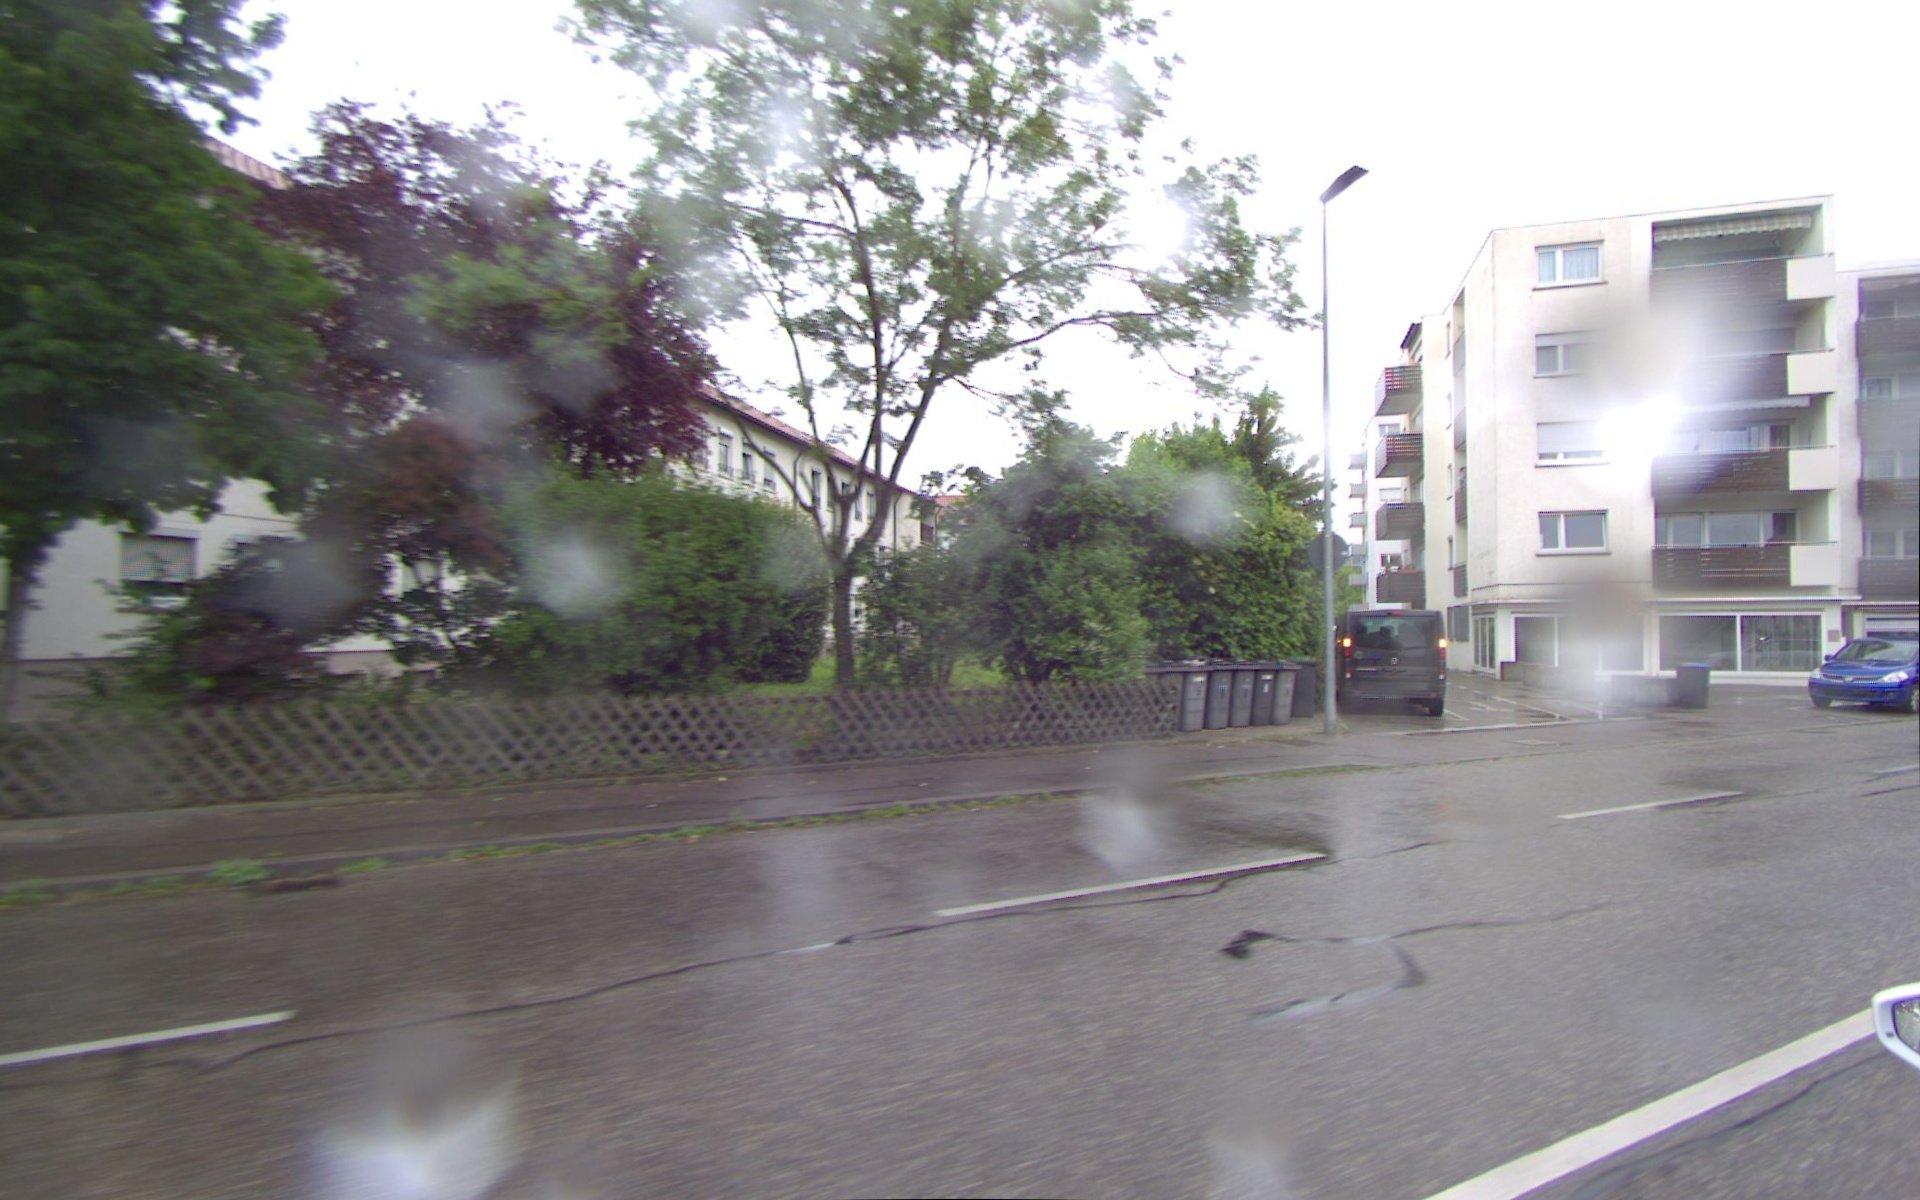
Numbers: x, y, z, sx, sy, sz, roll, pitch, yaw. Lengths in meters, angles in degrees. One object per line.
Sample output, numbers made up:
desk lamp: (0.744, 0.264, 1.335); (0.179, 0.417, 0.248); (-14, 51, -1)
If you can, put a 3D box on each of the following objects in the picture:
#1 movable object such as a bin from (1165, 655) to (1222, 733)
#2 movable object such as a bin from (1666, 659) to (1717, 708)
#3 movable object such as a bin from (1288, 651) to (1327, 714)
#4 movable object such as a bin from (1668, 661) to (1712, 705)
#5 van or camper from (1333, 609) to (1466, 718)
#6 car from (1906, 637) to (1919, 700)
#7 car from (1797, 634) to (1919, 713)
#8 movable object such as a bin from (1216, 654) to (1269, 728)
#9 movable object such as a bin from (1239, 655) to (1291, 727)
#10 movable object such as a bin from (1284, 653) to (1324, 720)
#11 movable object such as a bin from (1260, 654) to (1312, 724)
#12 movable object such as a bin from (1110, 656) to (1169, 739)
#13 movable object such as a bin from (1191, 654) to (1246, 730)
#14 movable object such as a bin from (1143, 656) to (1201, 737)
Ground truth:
movable object such as a bin: (3.544, 1.405, 15.254); (0.594, 1.133, 0.597); (1, -1, -30)
movable object such as a bin: (15.456, 1.751, 21.229); (0.674, 0.978, 0.645); (1, -2, -27)
movable object such as a bin: (6.404, 1.507, 18.508); (0.590, 1.133, 0.601); (-1, -2, 26)
movable object such as a bin: (15.914, 1.803, 21.908); (0.590, 0.914, 0.572); (1, -2, -27)
van or camper: (8.904, 1.182, 20.765); (1.960, 1.950, 5.219); (-1, -1, 18)
car: (24.792, 1.635, 24.046); (4.624, 1.483, 1.687); (1, -1, -27)
car: (20.144, 1.522, 21.724); (4.270, 1.541, 1.645); (1, -1, -28)
movable object such as a bin: (4.502, 1.435, 16.009); (0.596, 1.133, 0.594); (1, -2, -40)
movable object such as a bin: (4.981, 1.466, 16.407); (0.596, 1.133, 0.594); (1, -2, -40)
movable object such as a bin: (6.096, 1.519, 17.789); (0.590, 1.133, 0.601); (-1, -2, 26)
movable object such as a bin: (5.457, 1.478, 16.818); (0.596, 1.133, 0.594); (1, -2, -40)
movable object such as a bin: (2.573, 1.388, 14.446); (0.594, 1.133, 0.596); (1, -2, -30)
movable object such as a bin: (4.015, 1.412, 15.621); (0.596, 1.133, 0.594); (1, -2, -40)
movable object such as a bin: (3.105, 1.398, 14.757); (0.594, 1.133, 0.596); (1, -2, -30)
